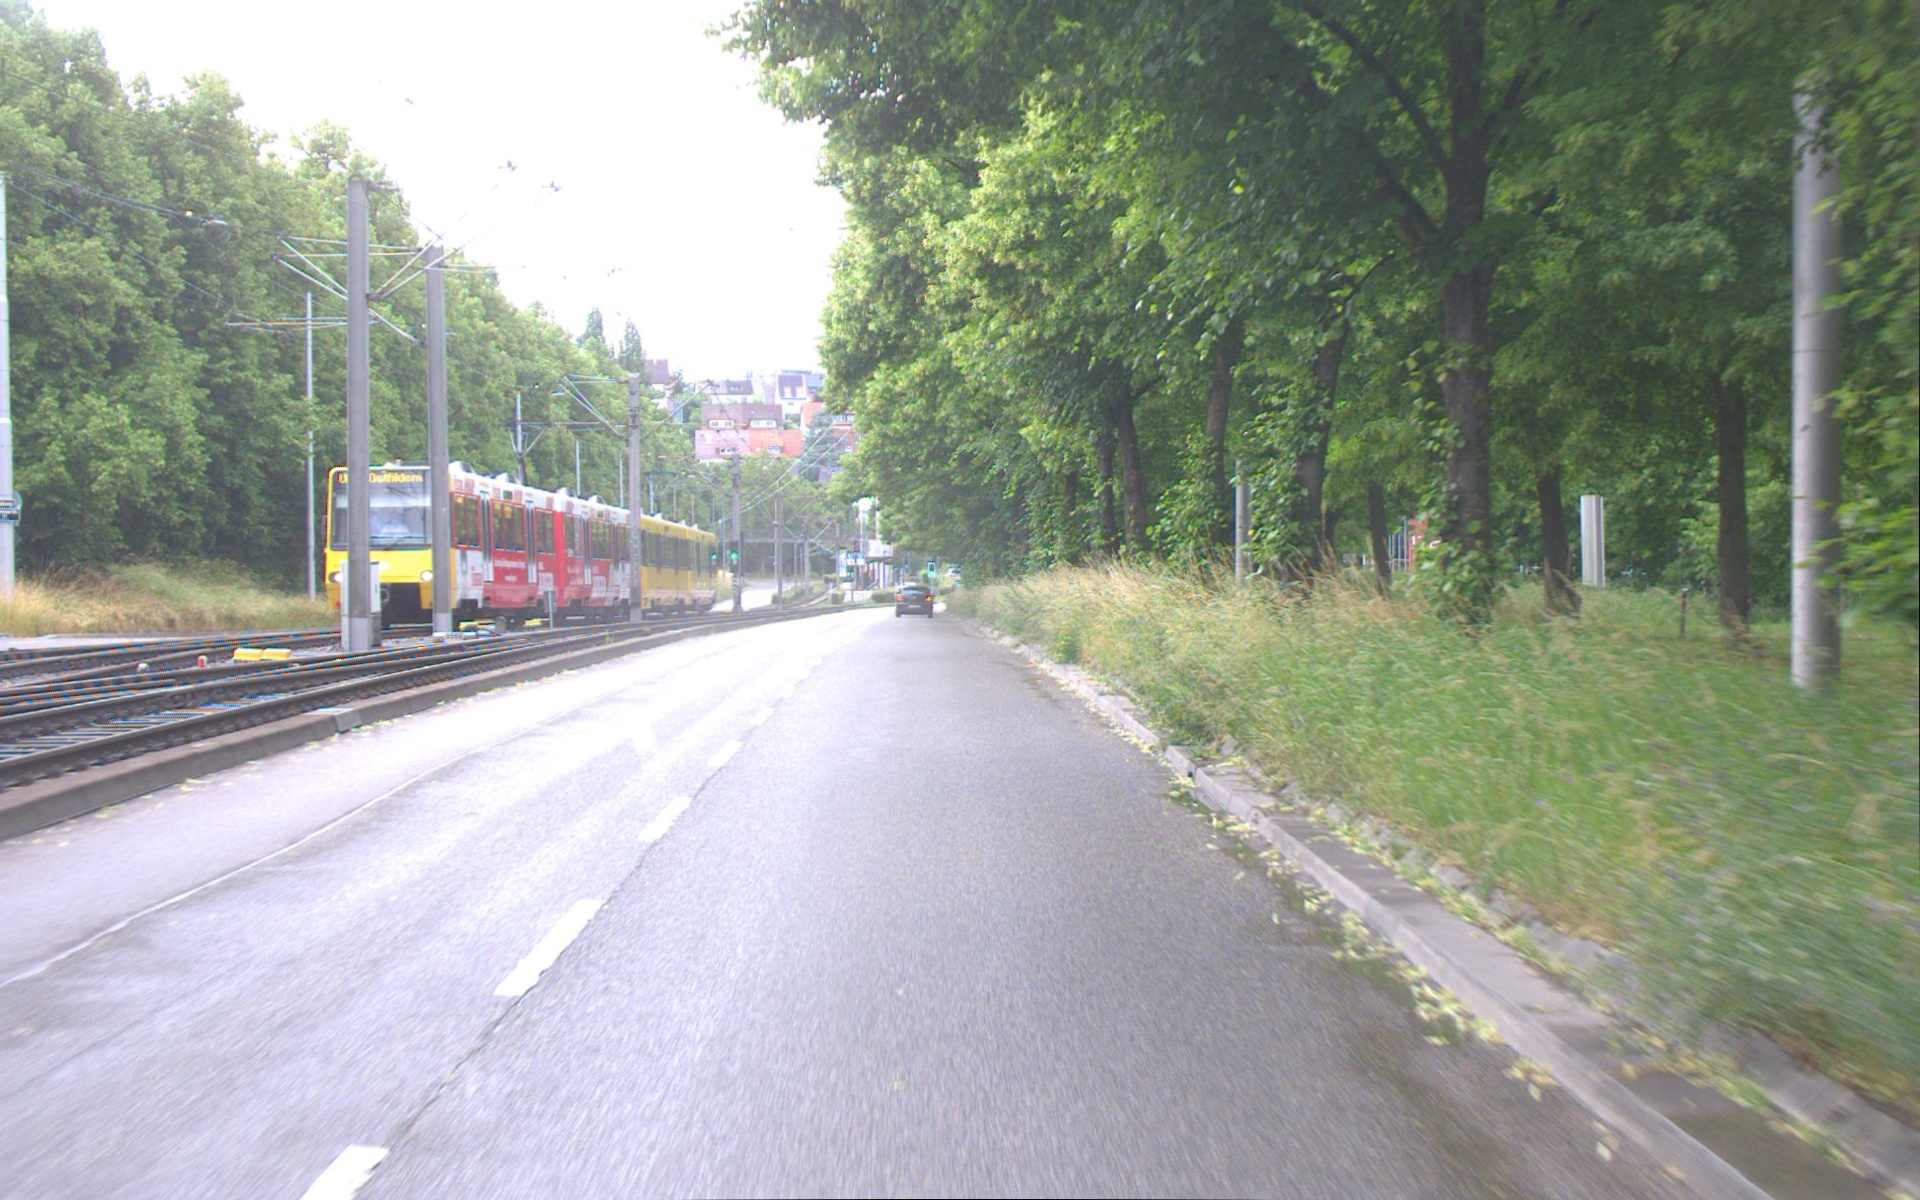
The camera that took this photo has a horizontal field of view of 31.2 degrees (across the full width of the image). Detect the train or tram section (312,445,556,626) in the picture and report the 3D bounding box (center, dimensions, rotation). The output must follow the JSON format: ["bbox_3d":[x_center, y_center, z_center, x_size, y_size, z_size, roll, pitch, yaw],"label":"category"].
[{"bbox_3d":[-11.890,-1.355,79.414,3.214,3.783,14.789,0,0,1],"label":"train or tram section"}]

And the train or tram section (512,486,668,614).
[{"bbox_3d":[-11.581,-1.498,109.141,3.214,3.783,14.789,0,0,1],"label":"train or tram section"}]

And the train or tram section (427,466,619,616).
[{"bbox_3d":[-11.768,-1.496,94.246,3.214,3.783,14.789,0,0,1],"label":"train or tram section"}]

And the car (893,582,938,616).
[{"bbox_3d":[-1.993,-0.056,154.999,1.982,1.436,4.474,0,1,-1],"label":"car"}]
